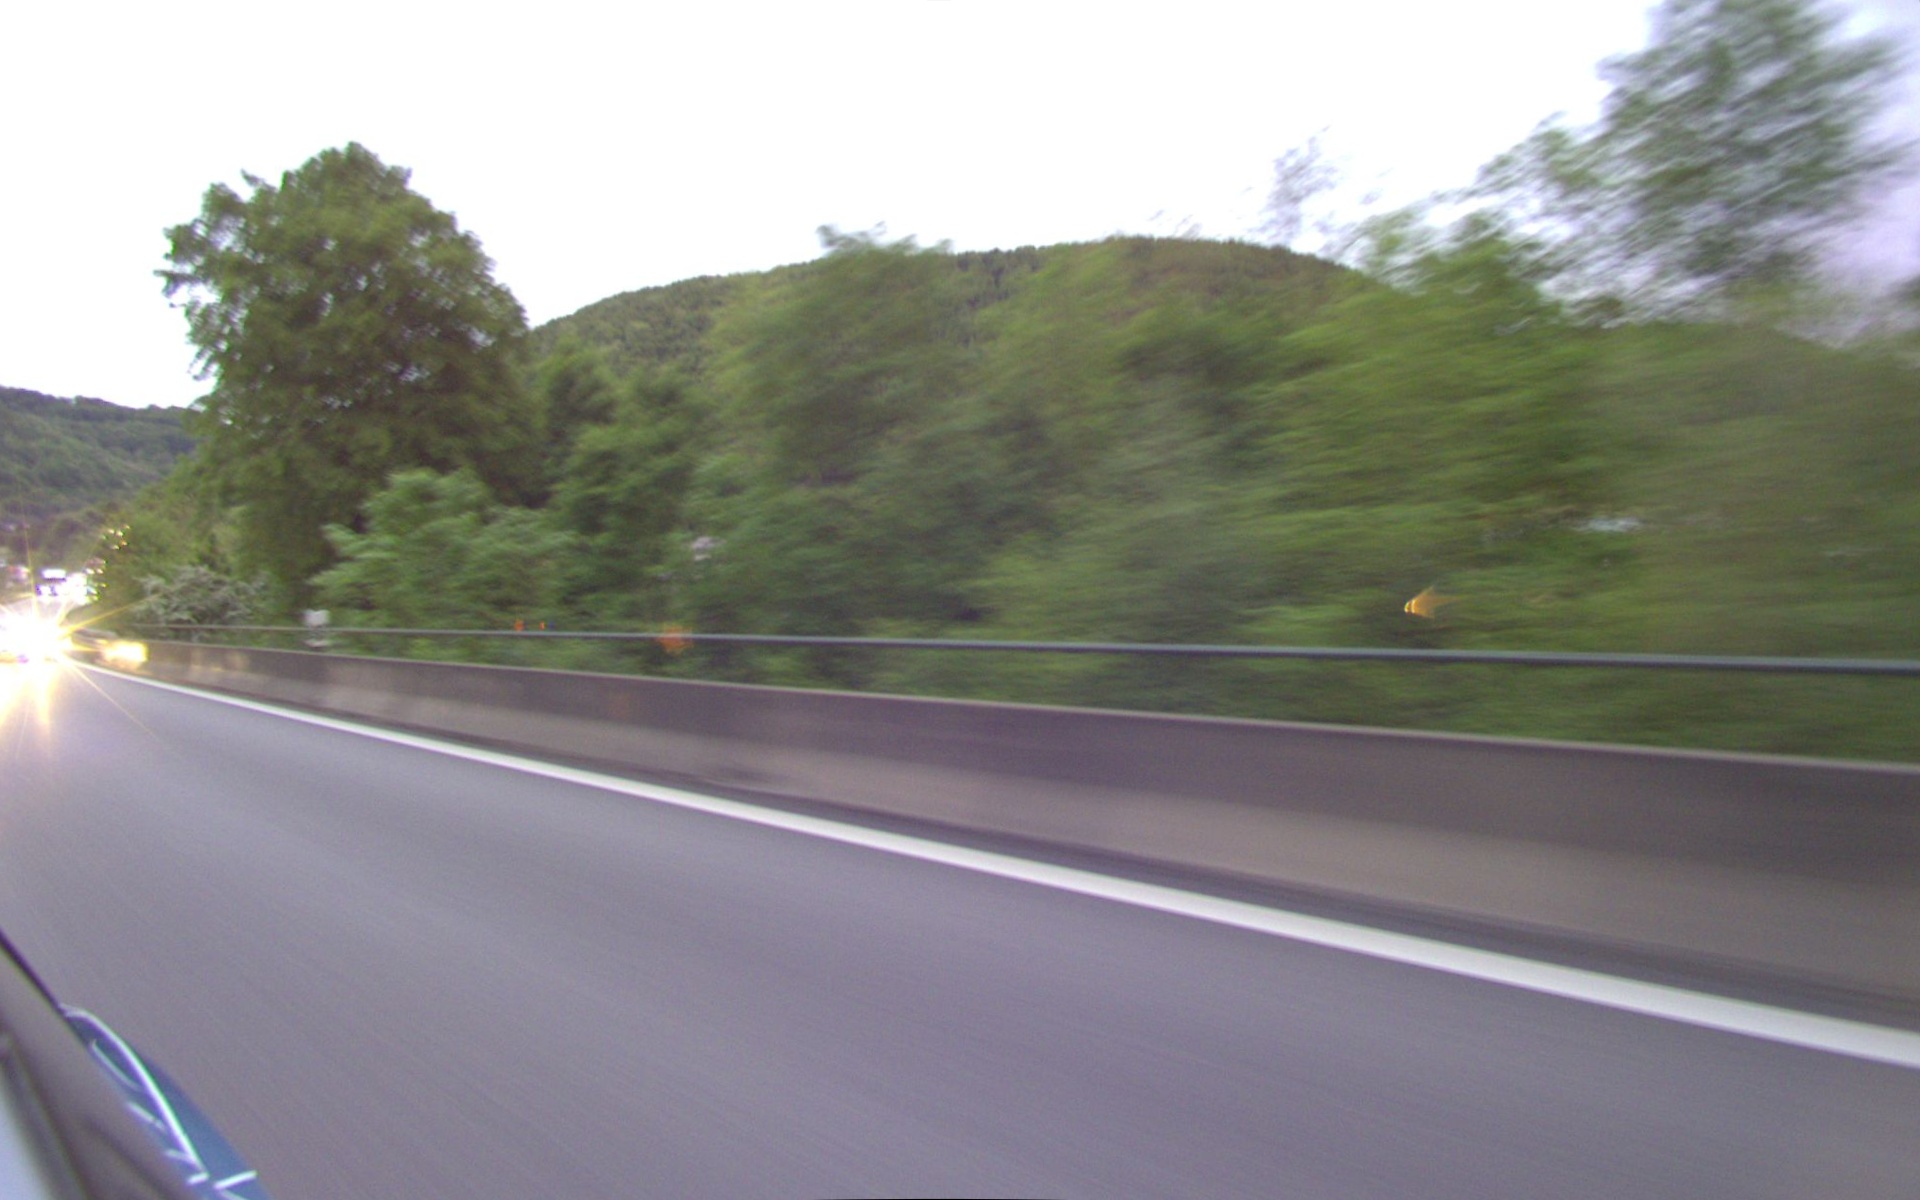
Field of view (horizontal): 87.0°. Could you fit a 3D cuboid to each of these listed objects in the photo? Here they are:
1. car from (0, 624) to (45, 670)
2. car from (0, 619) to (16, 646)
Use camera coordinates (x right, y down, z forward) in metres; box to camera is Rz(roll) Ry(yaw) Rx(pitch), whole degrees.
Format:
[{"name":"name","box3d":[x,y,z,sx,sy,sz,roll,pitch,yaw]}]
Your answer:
[{"name":"car","box3d":[-32.875,1.589,35.005,1.666,1.479,3.770,0,-1,-45]},{"name":"car","box3d":[-53.605,1.781,56.146,1.666,1.444,3.670,0,-1,-45]}]
